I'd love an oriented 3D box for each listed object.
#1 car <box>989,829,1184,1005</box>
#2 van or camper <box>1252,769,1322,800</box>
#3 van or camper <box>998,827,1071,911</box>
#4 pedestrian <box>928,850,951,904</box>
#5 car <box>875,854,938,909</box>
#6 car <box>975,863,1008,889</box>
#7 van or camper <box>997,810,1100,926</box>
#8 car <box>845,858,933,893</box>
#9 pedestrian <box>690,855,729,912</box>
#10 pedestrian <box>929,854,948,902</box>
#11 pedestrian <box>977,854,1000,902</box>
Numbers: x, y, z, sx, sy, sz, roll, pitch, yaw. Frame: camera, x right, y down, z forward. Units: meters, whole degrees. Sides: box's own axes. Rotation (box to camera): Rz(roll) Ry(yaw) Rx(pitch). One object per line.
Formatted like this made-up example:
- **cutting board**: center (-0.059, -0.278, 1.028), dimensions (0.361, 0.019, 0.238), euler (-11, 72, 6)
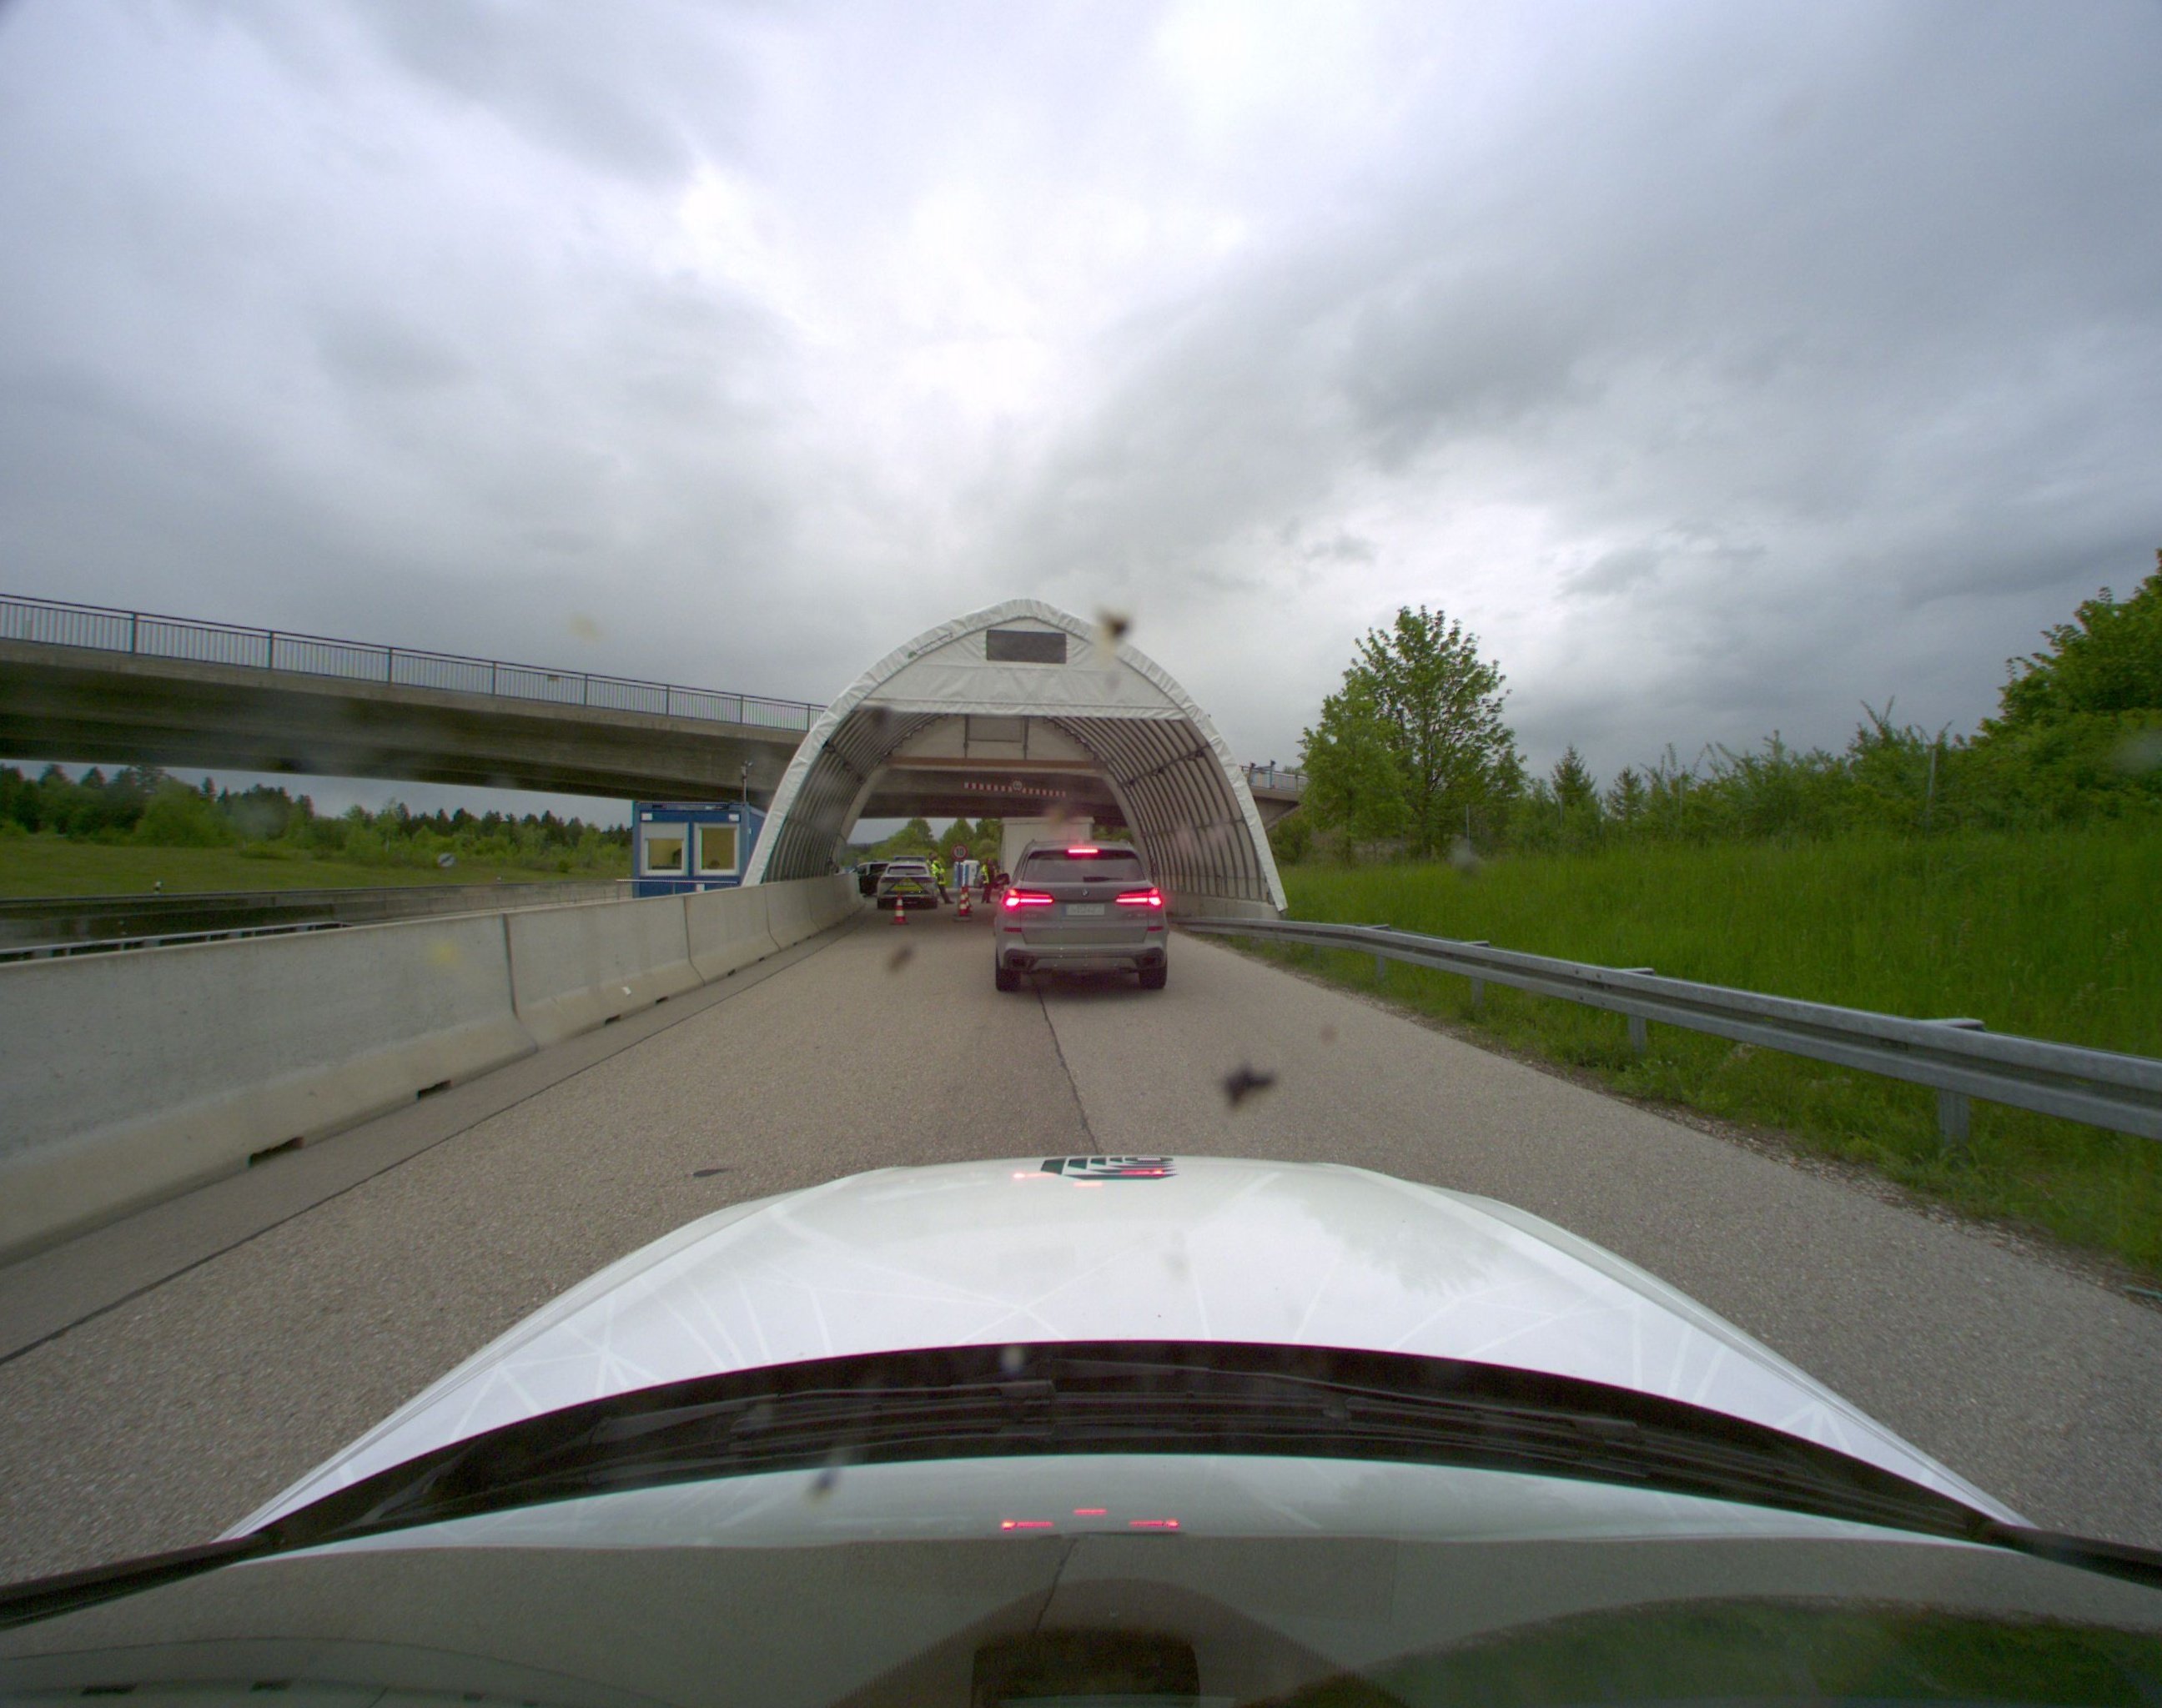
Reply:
- **car**: center (-0.155, 0.665, 10.466), dimensions (1.992, 1.765, 3.990), euler (-1, -1, -7)
- **van or camper**: center (14.838, -4.961, 58.601), dimensions (5.477, 1.770, 1.875), euler (0, -1, -37)
- **van or camper**: center (-1.693, 0.495, 27.659), dimensions (2.102, 2.519, 5.537), euler (-1, -1, -7)
- **pedestrian**: center (-5.086, 0.817, 29.191), dimensions (0.750, 1.919, 0.759), euler (-1, -1, -13)
- **car**: center (-5.781, 0.875, 27.020), dimensions (1.879, 1.647, 3.983), euler (-1, -1, -12)
- **car**: center (-6.487, 1.558, 58.699), dimensions (1.994, 1.722, 3.882), euler (-1, -1, -11)
- **van or camper**: center (-1.059, 0.355, 21.566), dimensions (2.227, 2.552, 6.595), euler (-1, -1, -6)
- **car**: center (-11.616, 1.299, 49.360), dimensions (4.777, 2.014, 1.845), euler (-1, -1, 9)
- **pedestrian**: center (-9.249, 0.733, 20.296), dimensions (0.606, 1.373, 0.629), euler (-2, -1, 10)
- **pedestrian**: center (-5.294, 0.885, 30.253), dimensions (0.607, 1.754, 0.665), euler (-1, -1, -4)
- **pedestrian**: center (-3.370, 0.861, 29.566), dimensions (0.754, 1.722, 0.779), euler (-1, -1, -11)
